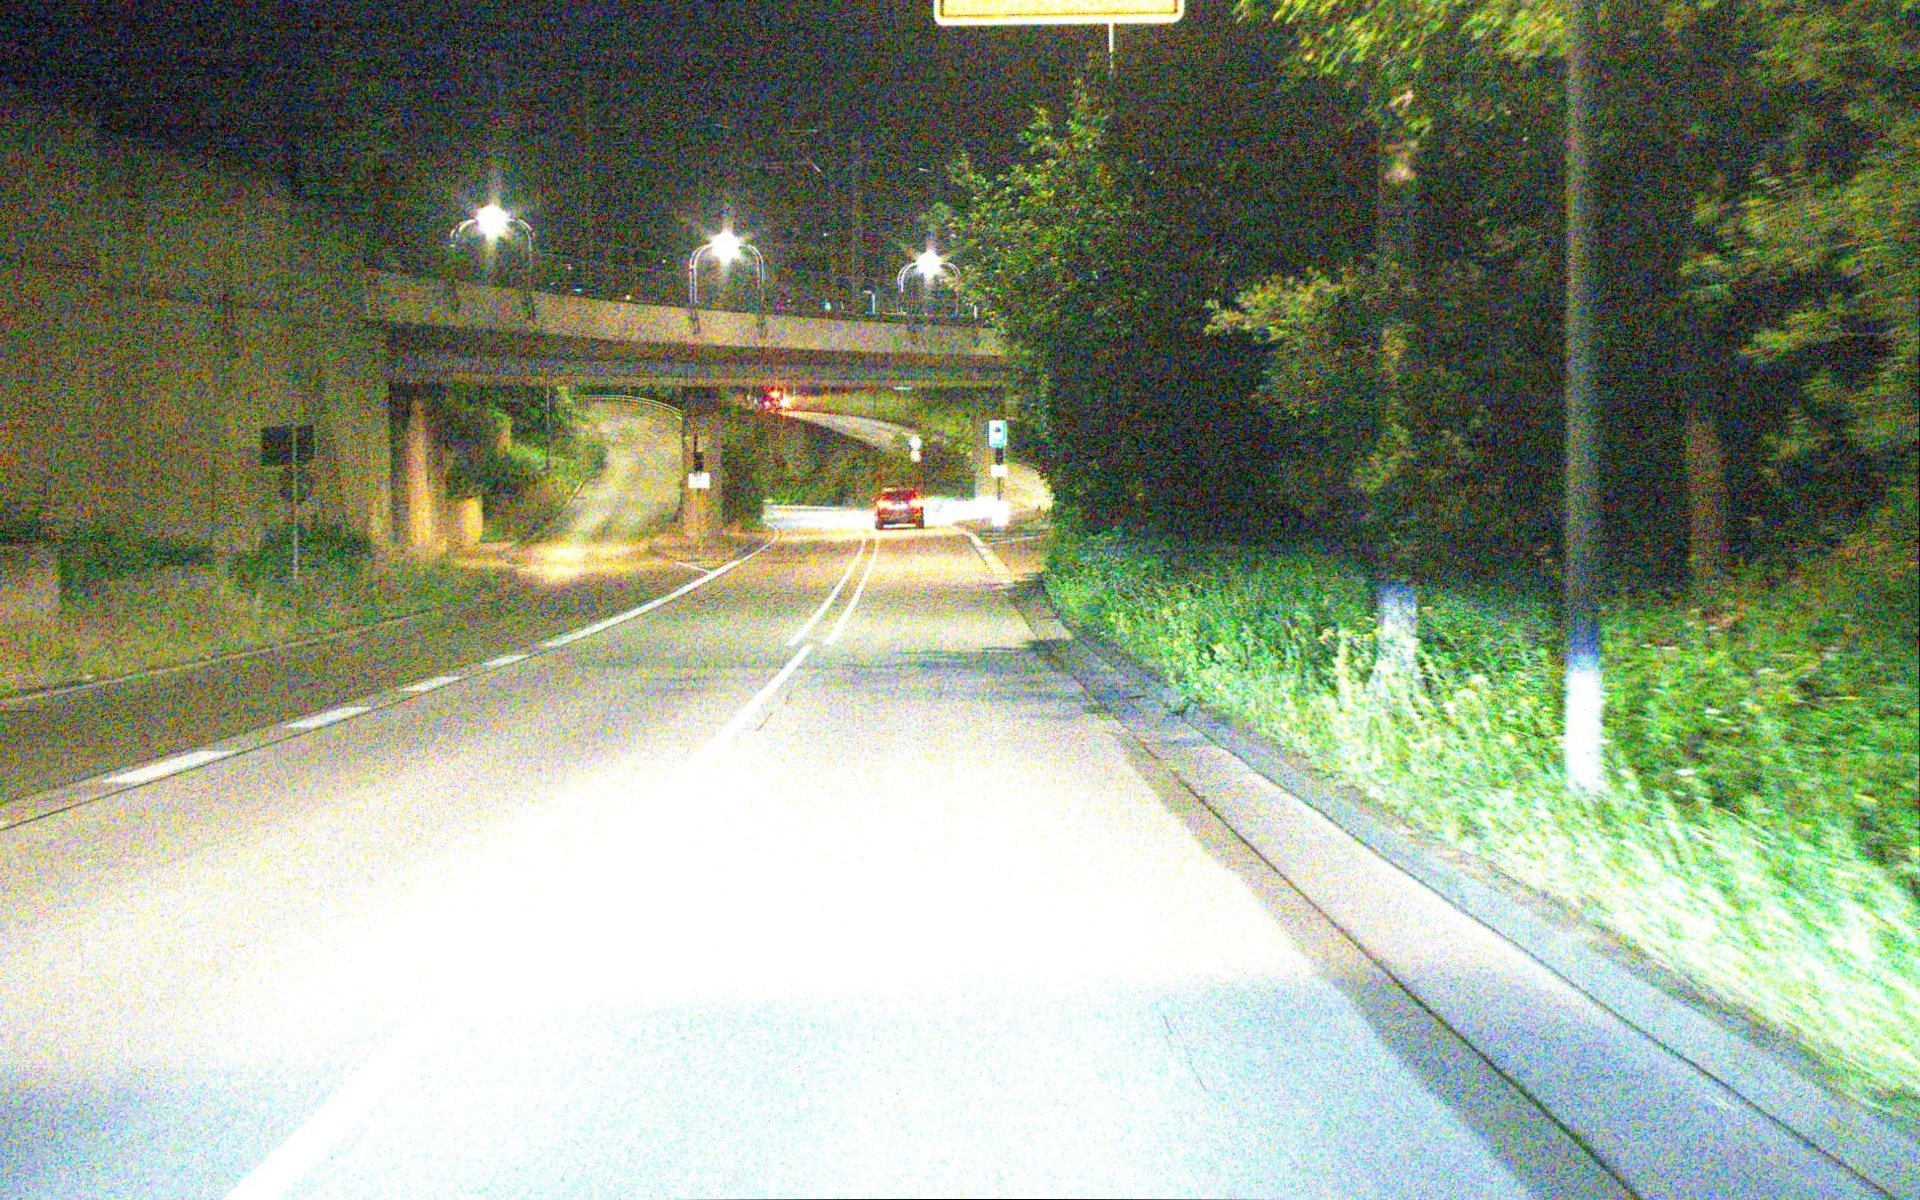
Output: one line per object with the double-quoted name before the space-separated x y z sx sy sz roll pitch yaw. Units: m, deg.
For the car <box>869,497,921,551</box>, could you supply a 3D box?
"car" -2.486 -2.921 132.454 1.918 2.007 4.123 1 1 -1
